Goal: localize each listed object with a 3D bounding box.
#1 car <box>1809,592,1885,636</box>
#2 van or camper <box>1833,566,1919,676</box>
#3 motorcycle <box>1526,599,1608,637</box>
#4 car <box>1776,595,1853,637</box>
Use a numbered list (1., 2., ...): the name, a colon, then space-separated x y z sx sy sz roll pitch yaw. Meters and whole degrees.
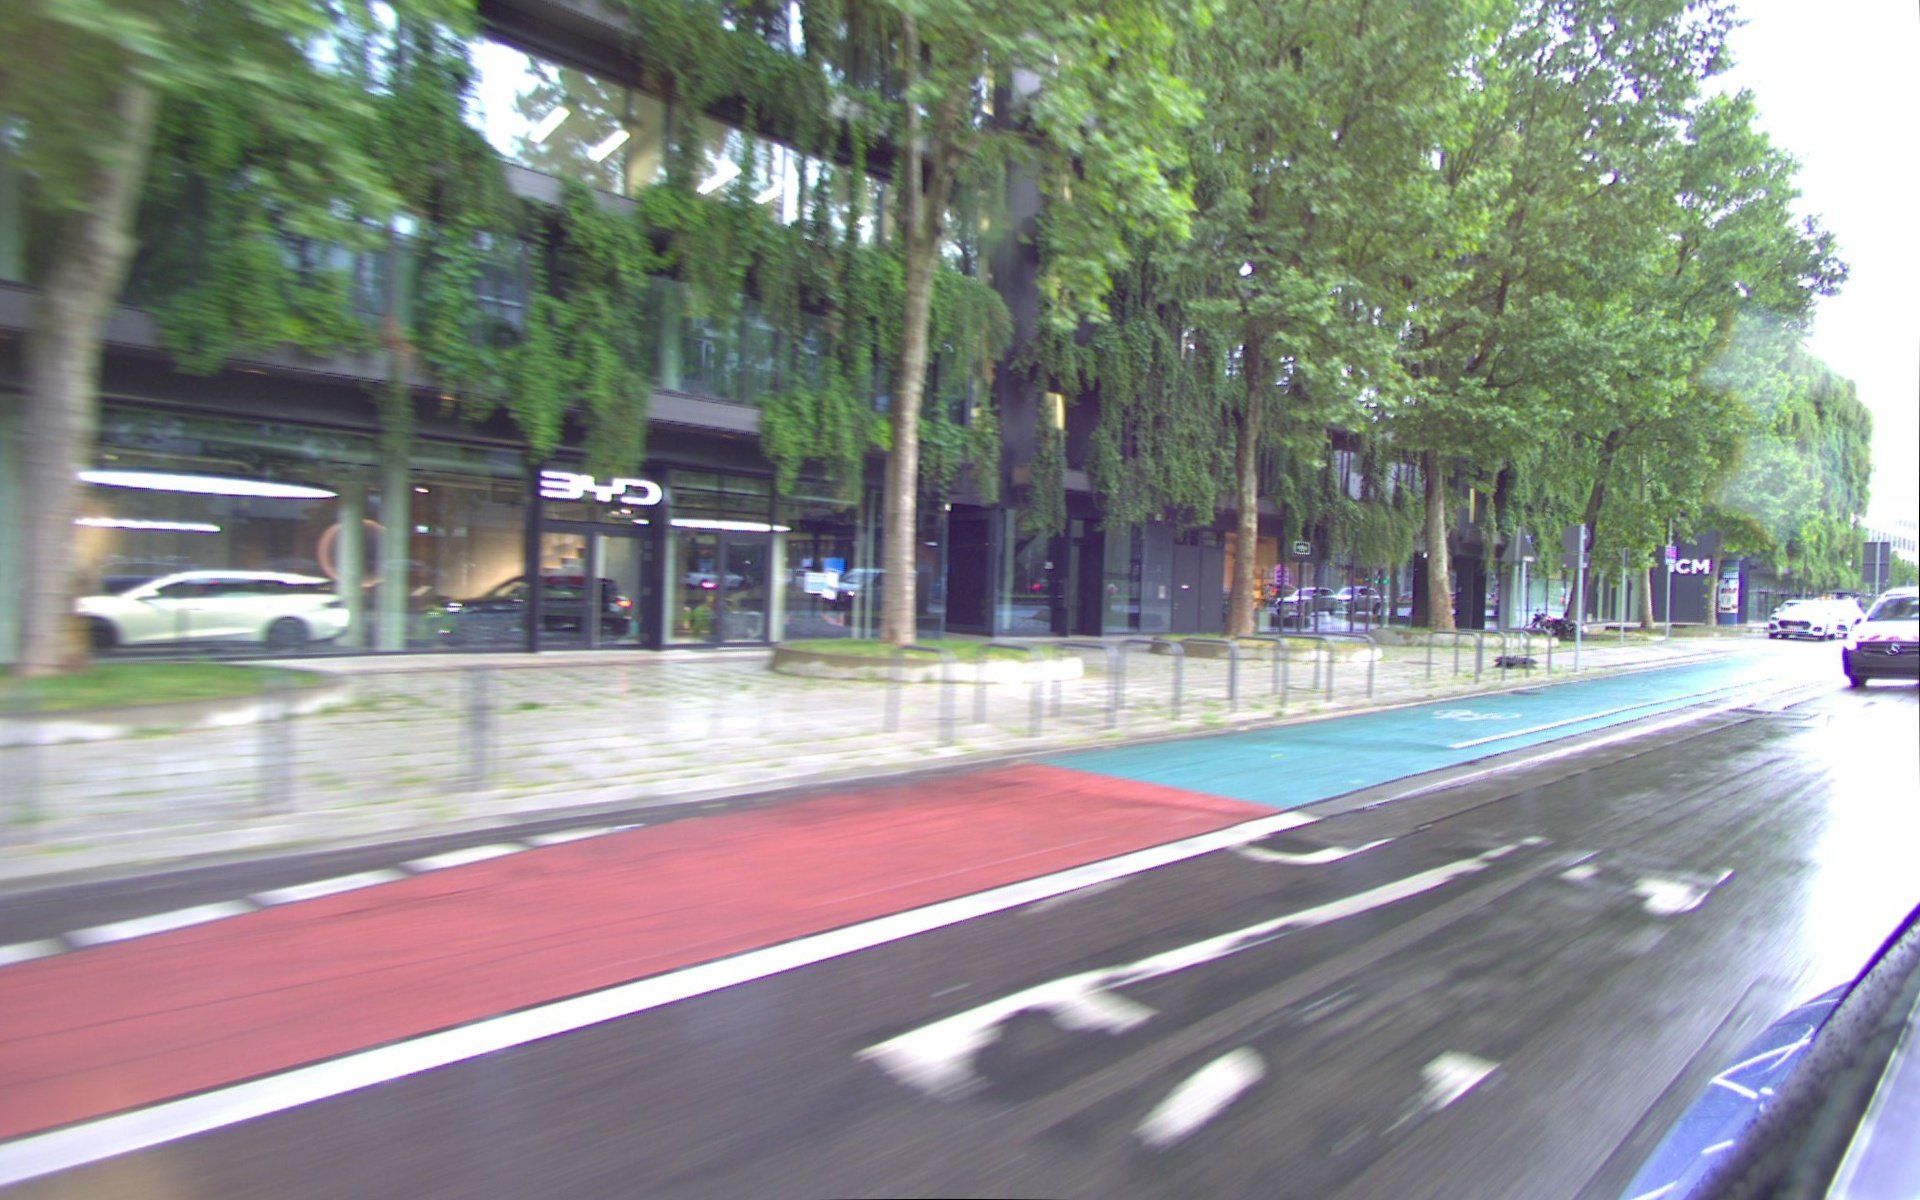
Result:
1. car: 40.920 0.616 46.655 5.002 1.861 1.848 1 2 -40
2. van or camper: 19.025 0.388 19.175 5.144 1.938 2.002 1 -1 -28
3. motorcycle: 21.688 0.629 36.192 1.034 1.286 2.310 1 -1 -42
4. car: 36.114 0.644 42.729 4.703 1.653 1.846 1 0 -42
